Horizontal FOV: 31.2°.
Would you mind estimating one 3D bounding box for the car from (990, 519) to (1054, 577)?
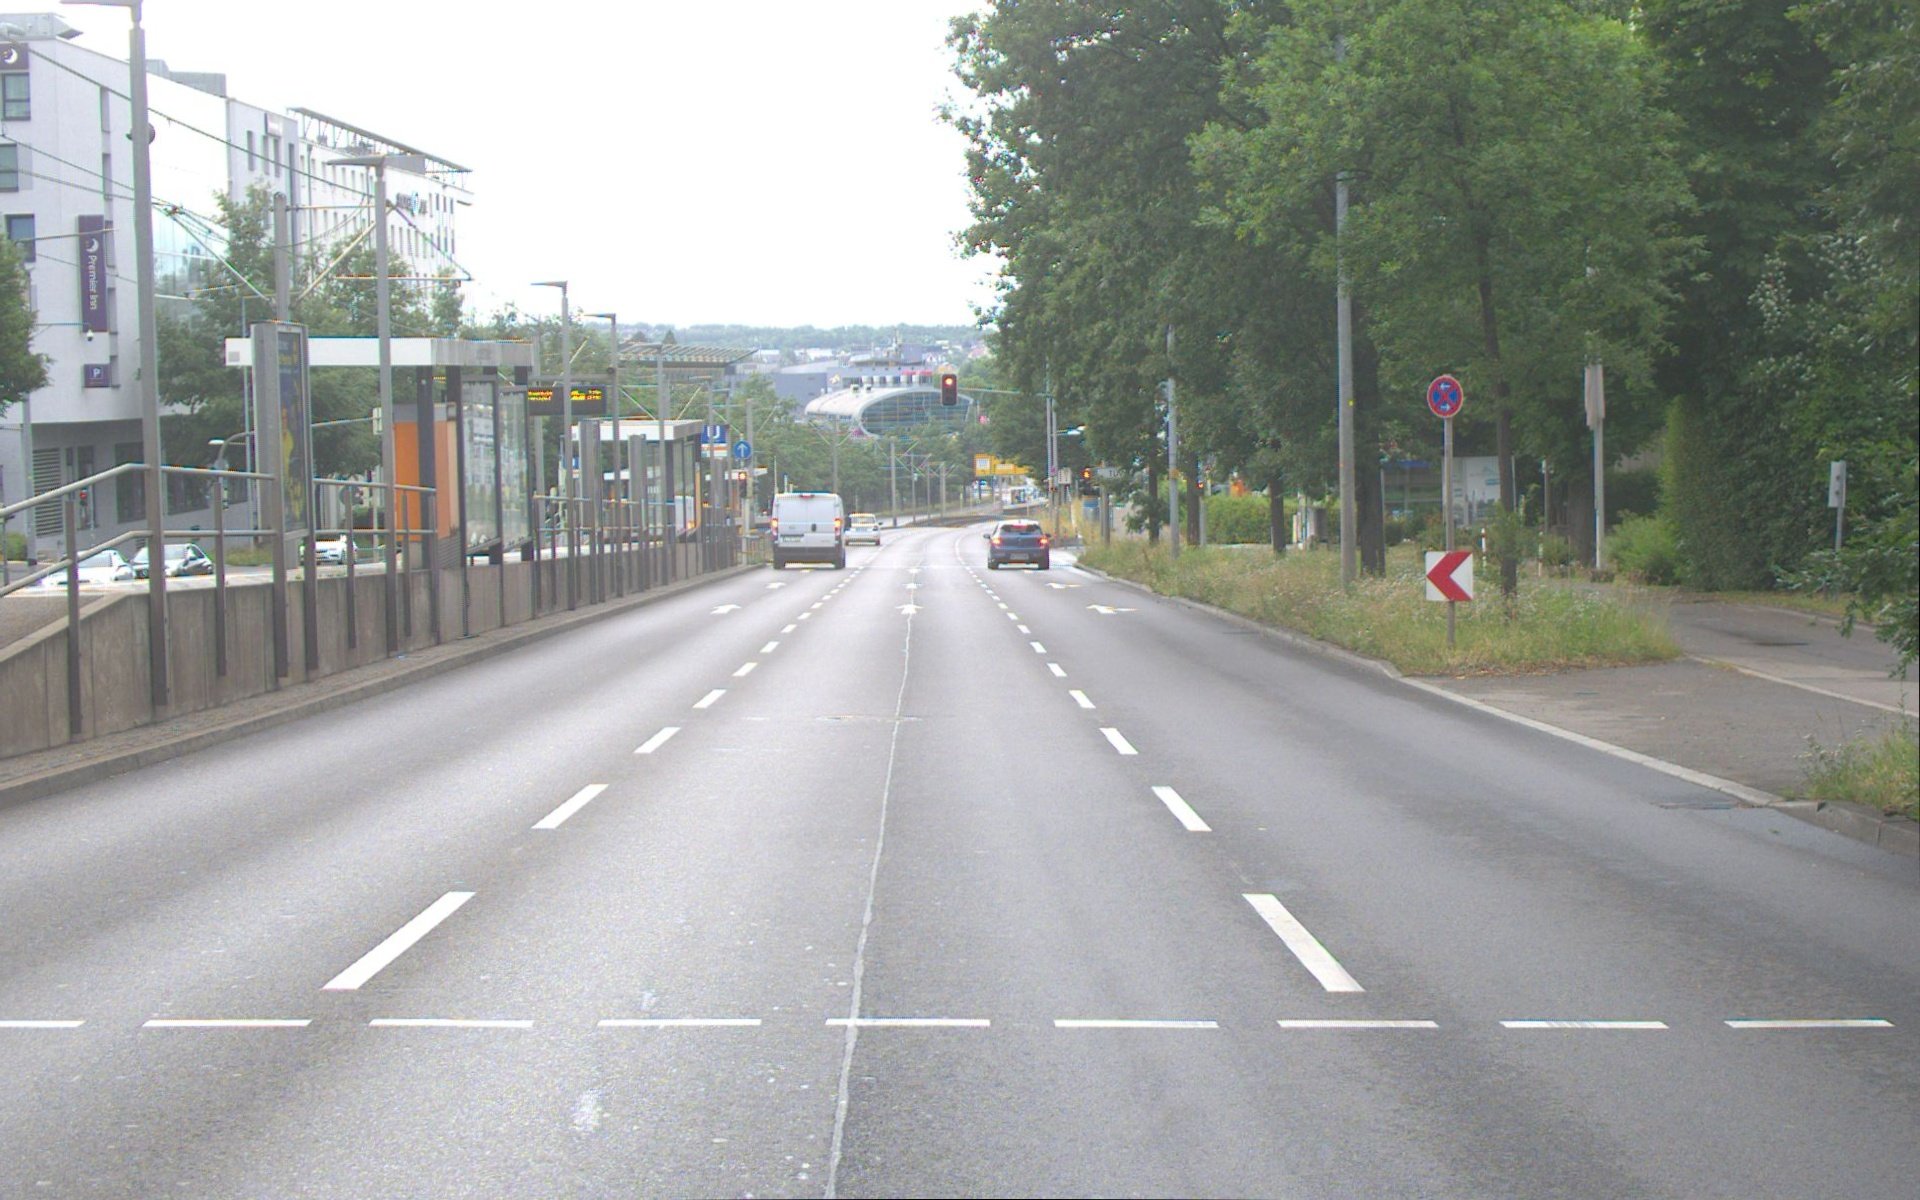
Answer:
[{"bbox_3d":[1.840,-1.565,102.784,1.774,1.685,3.846,0,1,-1],"label":"car"}]

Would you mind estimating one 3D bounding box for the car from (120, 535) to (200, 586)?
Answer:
[{"bbox_3d":[-22.551,-1.138,96.999,1.567,1.374,3.519,0,2,-2],"label":"car"}]

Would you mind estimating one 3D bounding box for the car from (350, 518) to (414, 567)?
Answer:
[{"bbox_3d":[-17.956,-1.770,106.654,1.650,1.431,3.881,-3,1,-13],"label":"car"}]

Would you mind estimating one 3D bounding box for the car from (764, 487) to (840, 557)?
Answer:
[{"bbox_3d":[-4.674,-2.334,102.474,2.093,2.046,4.607,0,1,-1],"label":"car"}]

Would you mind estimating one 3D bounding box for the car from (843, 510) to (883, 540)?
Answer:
[{"bbox_3d":[-4.466,-3.483,159.380,1.783,1.385,4.000,0,1,-1],"label":"car"}]

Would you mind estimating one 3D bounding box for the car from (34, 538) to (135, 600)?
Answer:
[{"bbox_3d":[-21.905,-0.798,86.103,1.650,1.431,3.880,-3,1,-3],"label":"car"}]
